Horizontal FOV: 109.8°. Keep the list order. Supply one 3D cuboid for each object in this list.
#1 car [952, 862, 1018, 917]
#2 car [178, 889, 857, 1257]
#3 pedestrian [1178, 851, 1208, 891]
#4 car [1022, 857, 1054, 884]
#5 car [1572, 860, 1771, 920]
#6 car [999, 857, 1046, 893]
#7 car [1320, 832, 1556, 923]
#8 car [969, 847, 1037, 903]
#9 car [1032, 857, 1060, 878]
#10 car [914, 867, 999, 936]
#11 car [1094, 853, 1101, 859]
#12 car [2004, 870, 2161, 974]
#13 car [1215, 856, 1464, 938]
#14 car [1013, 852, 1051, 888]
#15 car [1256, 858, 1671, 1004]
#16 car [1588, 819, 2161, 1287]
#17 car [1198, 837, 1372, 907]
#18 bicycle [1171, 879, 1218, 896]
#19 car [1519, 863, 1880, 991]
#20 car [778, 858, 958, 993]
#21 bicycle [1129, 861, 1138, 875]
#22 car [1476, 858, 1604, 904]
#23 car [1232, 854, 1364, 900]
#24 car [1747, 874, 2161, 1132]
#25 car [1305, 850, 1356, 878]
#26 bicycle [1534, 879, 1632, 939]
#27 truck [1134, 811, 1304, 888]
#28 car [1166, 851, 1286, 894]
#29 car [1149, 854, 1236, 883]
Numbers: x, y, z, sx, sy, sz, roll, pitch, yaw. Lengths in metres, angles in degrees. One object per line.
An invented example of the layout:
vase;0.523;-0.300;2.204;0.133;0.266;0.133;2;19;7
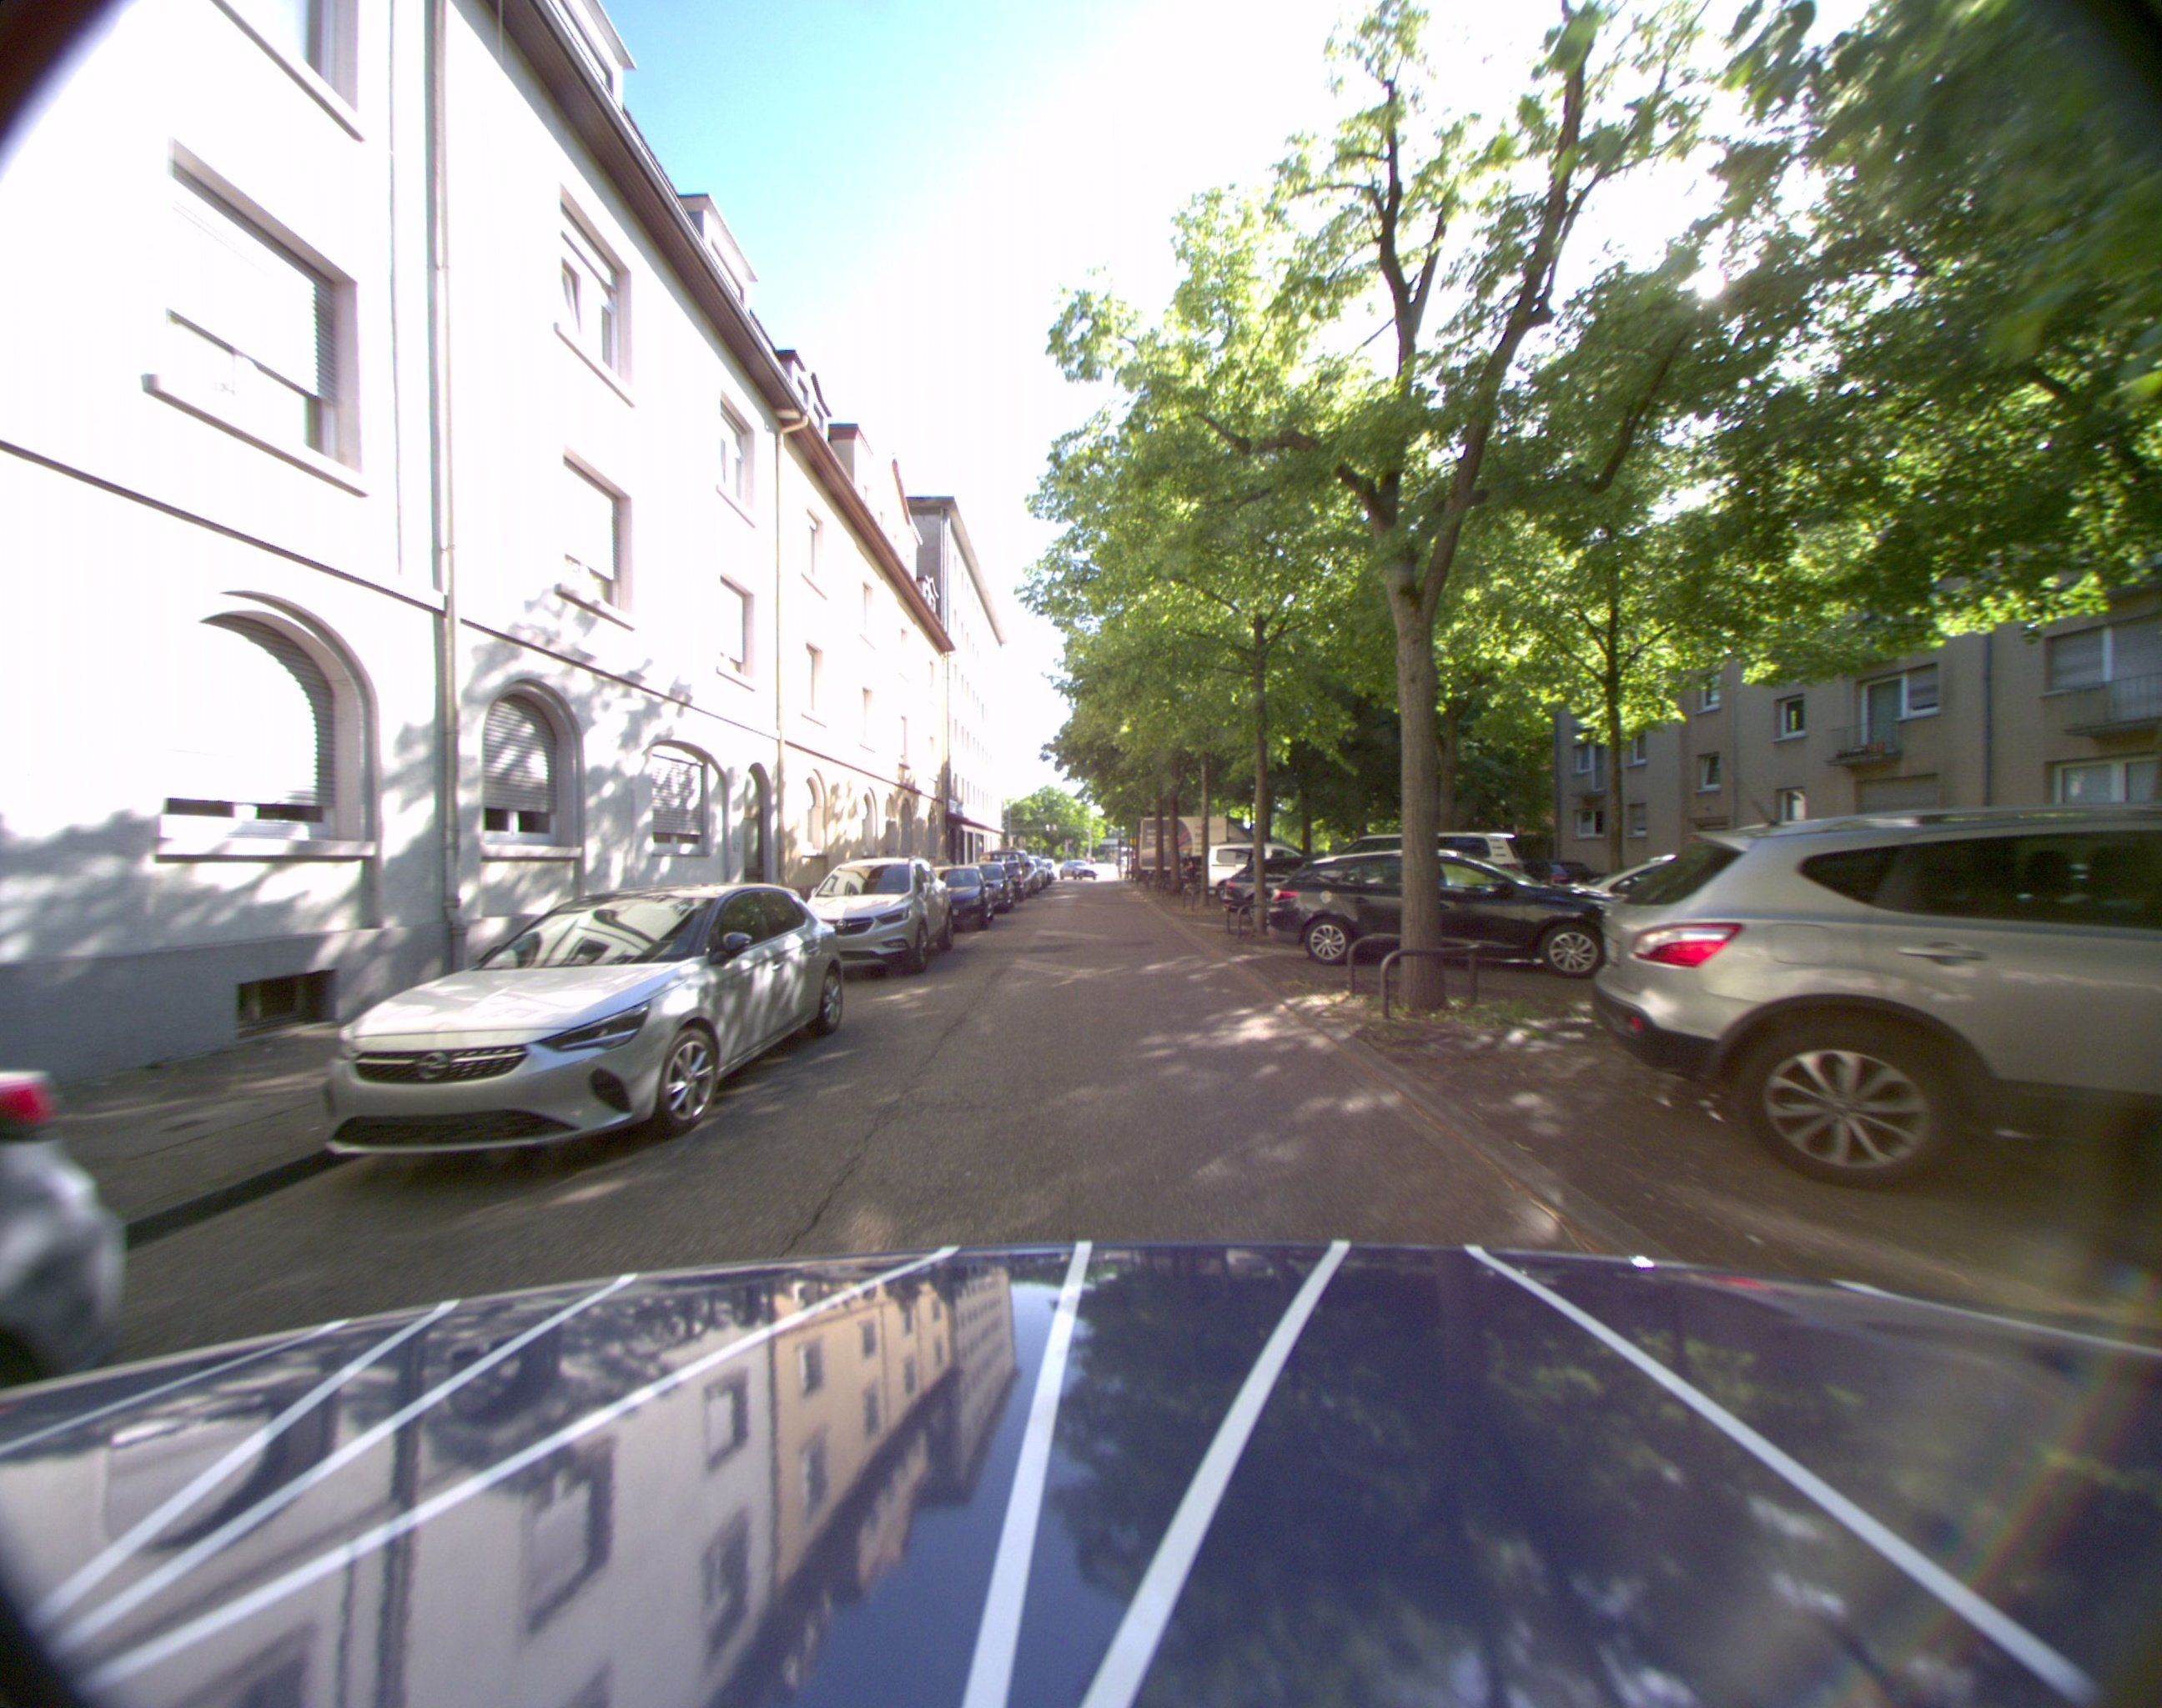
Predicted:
car;-2.839;1.007;23.058;1.626;1.489;3.594;-1;0;-2
car;-3.099;1.066;5.436;1.727;1.424;4.158;-1;0;0
pedestrian;4.066;0.605;27.504;0.751;1.388;0.930;0;0;32
car;-2.566;0.928;44.900;1.807;1.455;4.439;-1;0;-4
car;15.759;0.892;20.662;1.732;1.385;4.616;0;0;-1
car;-2.583;0.908;34.165;1.766;1.491;4.238;-1;0;0
car;7.992;0.459;17.208;4.593;1.821;2.022;0;1;30
car;-2.845;0.728;28.686;1.953;1.889;4.845;-1;0;1
car;-2.520;0.963;55.631;1.723;1.488;4.023;0;0;2
car;-2.832;1.030;17.953;1.553;1.386;3.860;-1;0;-3
car;4.384;0.585;202.066;1.998;1.543;4.485;0;0;0
car;15.863;0.955;10.289;1.896;1.379;4.000;-1;0;0
car;5.183;0.785;15.437;4.477;1.447;1.791;0;0;32
car;-2.507;0.780;39.603;1.766;1.743;4.509;-1;0;-1
car;4.674;0.816;9.721;4.411;1.453;1.719;-1;1;33
car;4.711;0.701;3.228;4.136;1.669;1.762;-1;0;29
car;5.903;0.501;21.986;4.512;1.854;2.085;-1;0;26
bicycle;4.033;1.182;27.113;1.610;0.555;0.410;0;0;32
car;8.314;0.861;10.573;3.623;1.447;1.822;0;0;37
car;-3.052;0.922;11.781;1.727;1.676;4.157;-1;0;-2
bicycle;4.041;1.084;58.649;0.354;1.066;1.591;-1;0;-10
car;15.551;0.863;26.041;1.622;1.398;4.534;0;0;0
car;7.061;0.722;24.844;3.791;1.398;1.627;-1;0;34
car;7.117;0.870;4.869;4.032;1.395;1.827;-2;0;33
car;15.545;0.589;47.598;1.758;1.630;4.246;-1;0;-1
bicycle;9.005;0.954;13.709;0.437;0.934;1.766;-2;0;-5
truck;6.299;-0.190;35.121;7.305;3.274;2.552;0;0;32
car;5.468;0.686;28.816;4.097;1.497;1.736;-1;0;32
car;6.076;0.757;41.684;4.331;1.498;1.817;-1;0;34
